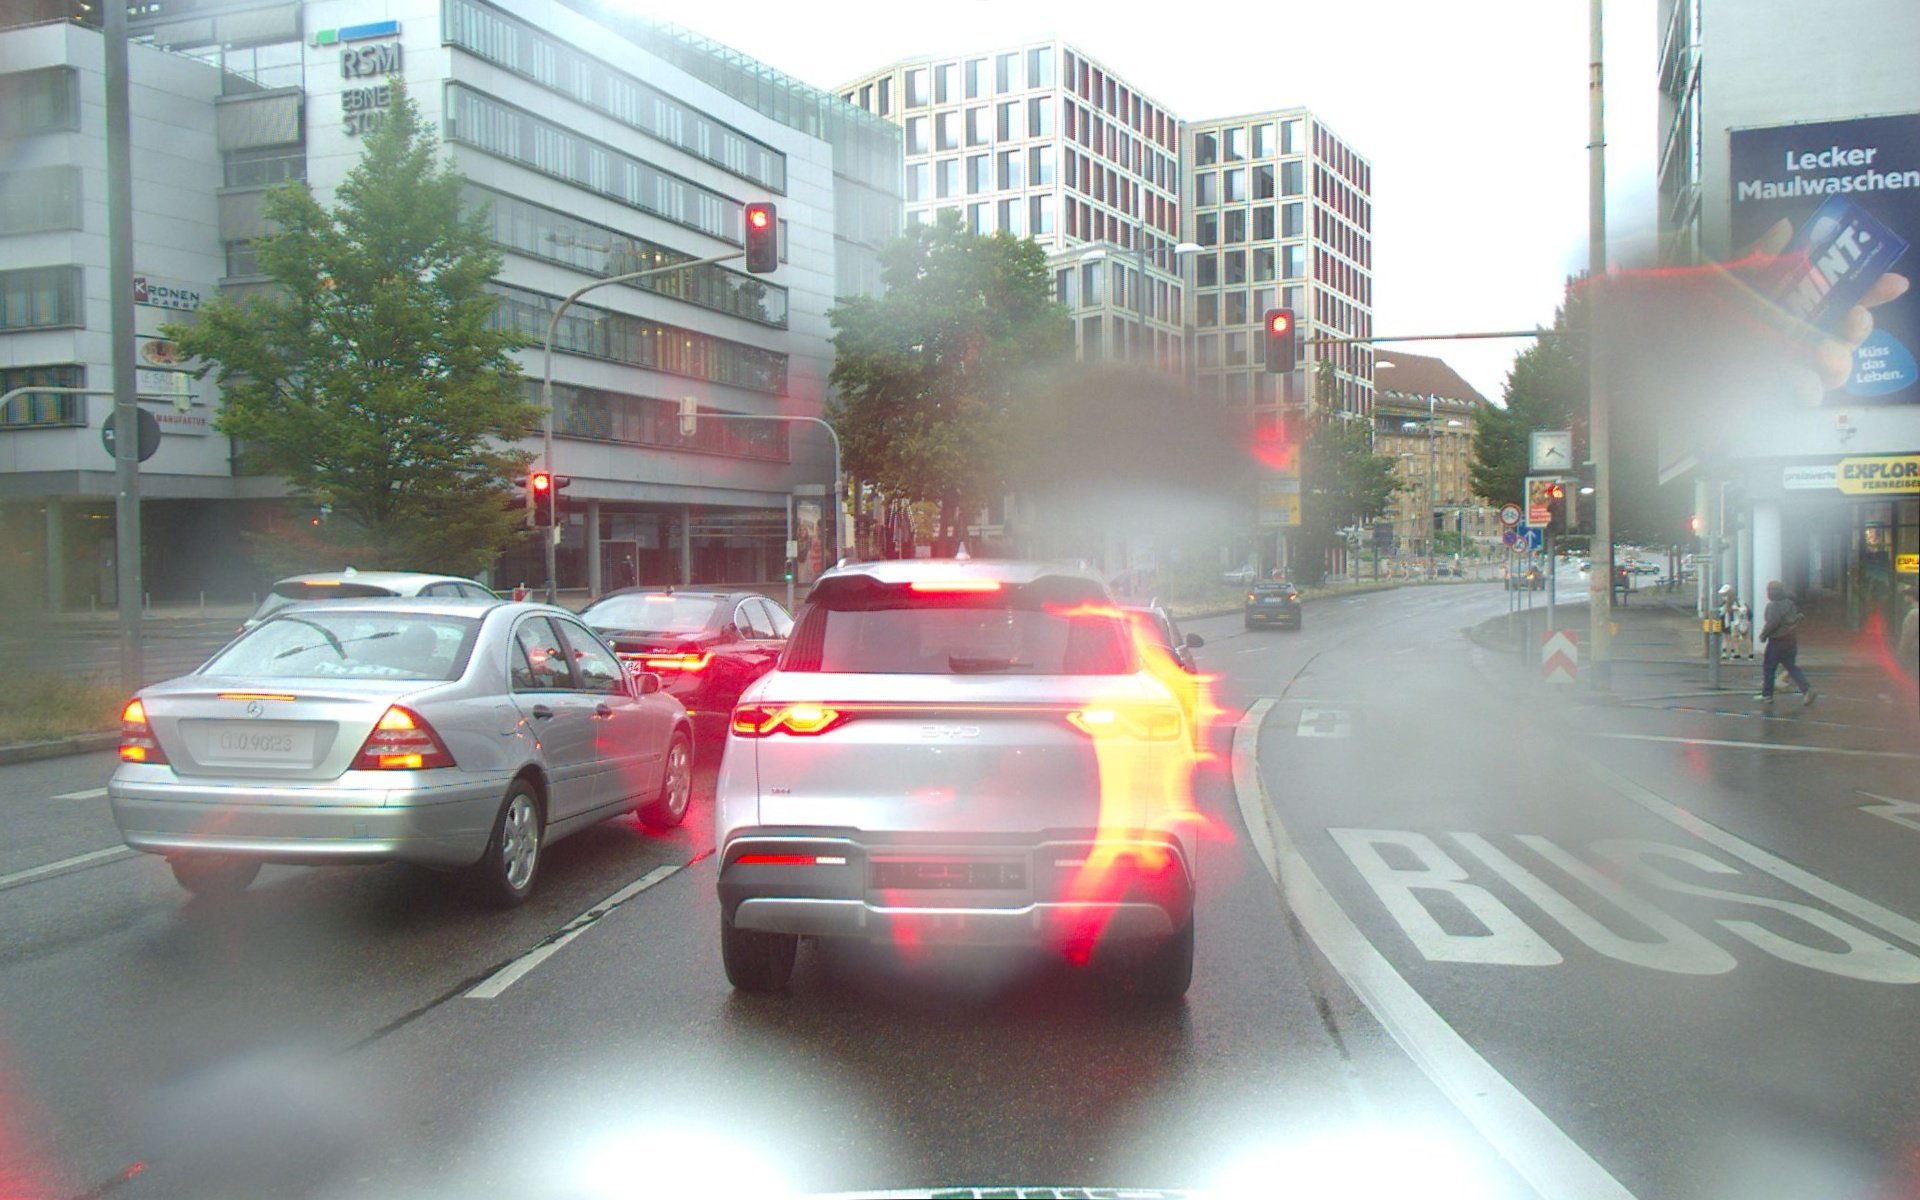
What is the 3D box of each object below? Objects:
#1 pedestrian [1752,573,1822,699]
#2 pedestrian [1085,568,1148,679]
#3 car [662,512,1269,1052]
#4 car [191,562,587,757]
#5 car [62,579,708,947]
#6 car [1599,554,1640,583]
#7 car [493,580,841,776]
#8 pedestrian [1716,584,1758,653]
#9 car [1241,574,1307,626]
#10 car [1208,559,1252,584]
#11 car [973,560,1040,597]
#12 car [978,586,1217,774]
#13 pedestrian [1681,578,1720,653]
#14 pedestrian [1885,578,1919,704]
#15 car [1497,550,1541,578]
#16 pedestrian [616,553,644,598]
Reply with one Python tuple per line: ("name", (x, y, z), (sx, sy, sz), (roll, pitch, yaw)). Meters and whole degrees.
("pedestrian", (12.219, 0.519, 24.447), (0.795, 1.830, 0.711), (0, 0, 15))
("pedestrian", (2.524, 0.363, 26.729), (0.904, 1.768, 0.729), (0, 0, -6))
("car", (0.138, 0.571, 7.612), (1.952, 1.739, 4.485), (-1, 1, 3))
("car", (-5.301, 0.473, 15.979), (1.844, 1.624, 4.004), (0, 1, 11))
("car", (-2.727, 0.644, 8.967), (1.646, 1.512, 4.200), (0, 1, 6))
("car", (42.794, -2.041, 107.248), (2.007, 1.796, 4.351), (2, 1, 27))
("car", (-2.534, 0.606, 15.385), (1.913, 1.556, 4.004), (0, 1, 10))
("pedestrian", (17.547, 0.411, 37.364), (0.712, 1.551, 0.760), (0, -1, 15))
("car", (10.260, -0.029, 53.850), (1.951, 1.579, 4.004), (1, 1, 12))
("car", (19.589, -2.088, 119.880), (1.954, 1.735, 4.305), (1, 2, 26))
("car", (2.301, -1.080, 81.156), (1.953, 1.735, 3.999), (1, 2, 24))
("car", (1.455, 0.649, 15.942), (1.913, 1.556, 4.004), (0, 1, 10))
("pedestrian", (16.874, 0.347, 37.687), (0.712, 1.698, 0.691), (0, -1, 15))
("pedestrian", (14.062, 0.588, 24.233), (0.712, 1.830, 0.740), (0, 0, 15))
("car", (32.918, -2.118, 97.337), (1.873, 1.536, 4.352), (2, 1, 26))
("pedestrian", (-13.180, -0.969, 66.150), (0.712, 1.757, 0.925), (0, 0, 21))
